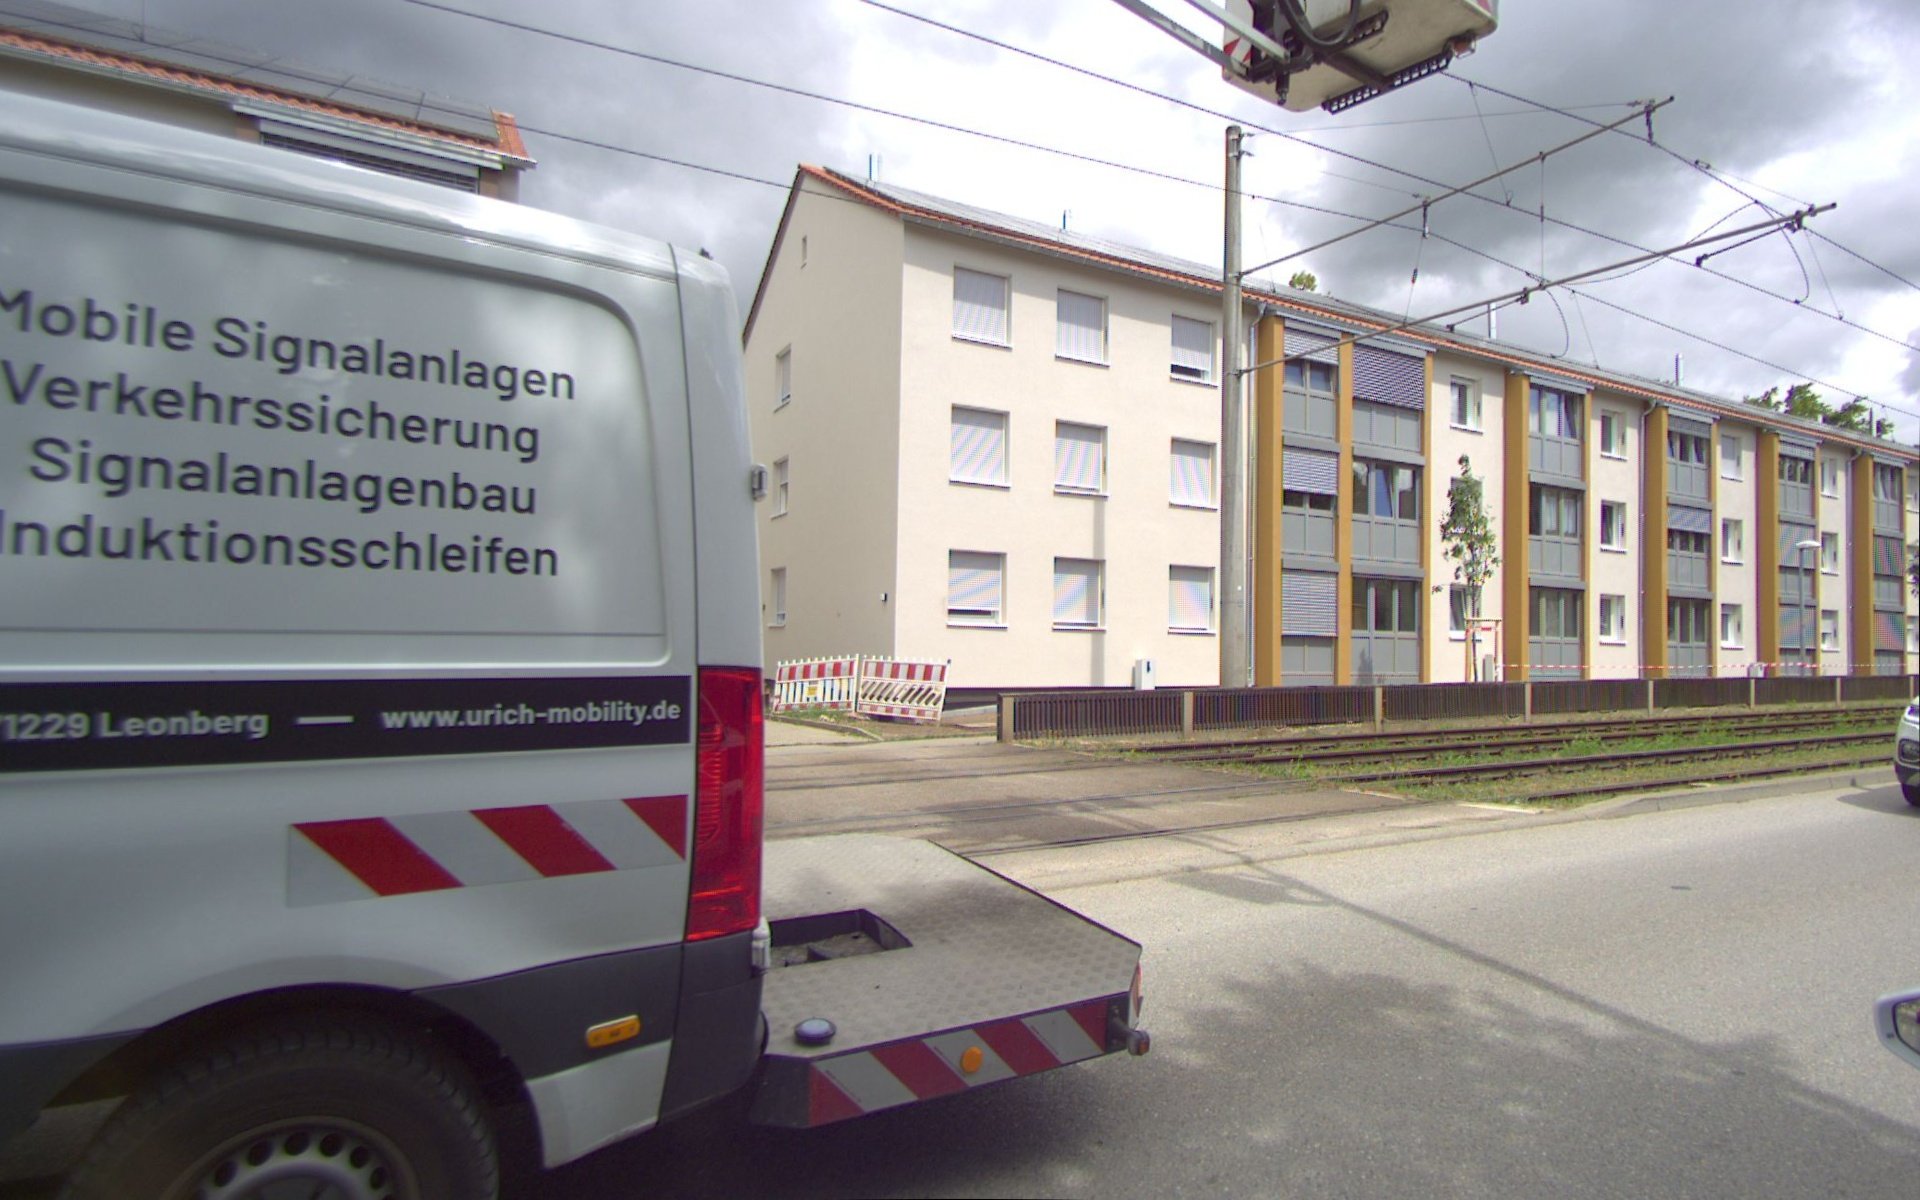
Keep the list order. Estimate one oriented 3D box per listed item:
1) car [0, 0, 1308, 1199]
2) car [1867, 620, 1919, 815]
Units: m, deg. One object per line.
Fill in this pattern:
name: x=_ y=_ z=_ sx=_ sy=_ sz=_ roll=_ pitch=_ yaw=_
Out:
car: x=-2.205 y=0.151 z=2.204 sx=6.246 sy=2.463 sz=1.984 roll=2 pitch=-1 yaw=-30
car: x=9.724 y=1.000 z=8.563 sx=3.867 sy=1.573 sz=1.712 roll=2 pitch=-1 yaw=-27
